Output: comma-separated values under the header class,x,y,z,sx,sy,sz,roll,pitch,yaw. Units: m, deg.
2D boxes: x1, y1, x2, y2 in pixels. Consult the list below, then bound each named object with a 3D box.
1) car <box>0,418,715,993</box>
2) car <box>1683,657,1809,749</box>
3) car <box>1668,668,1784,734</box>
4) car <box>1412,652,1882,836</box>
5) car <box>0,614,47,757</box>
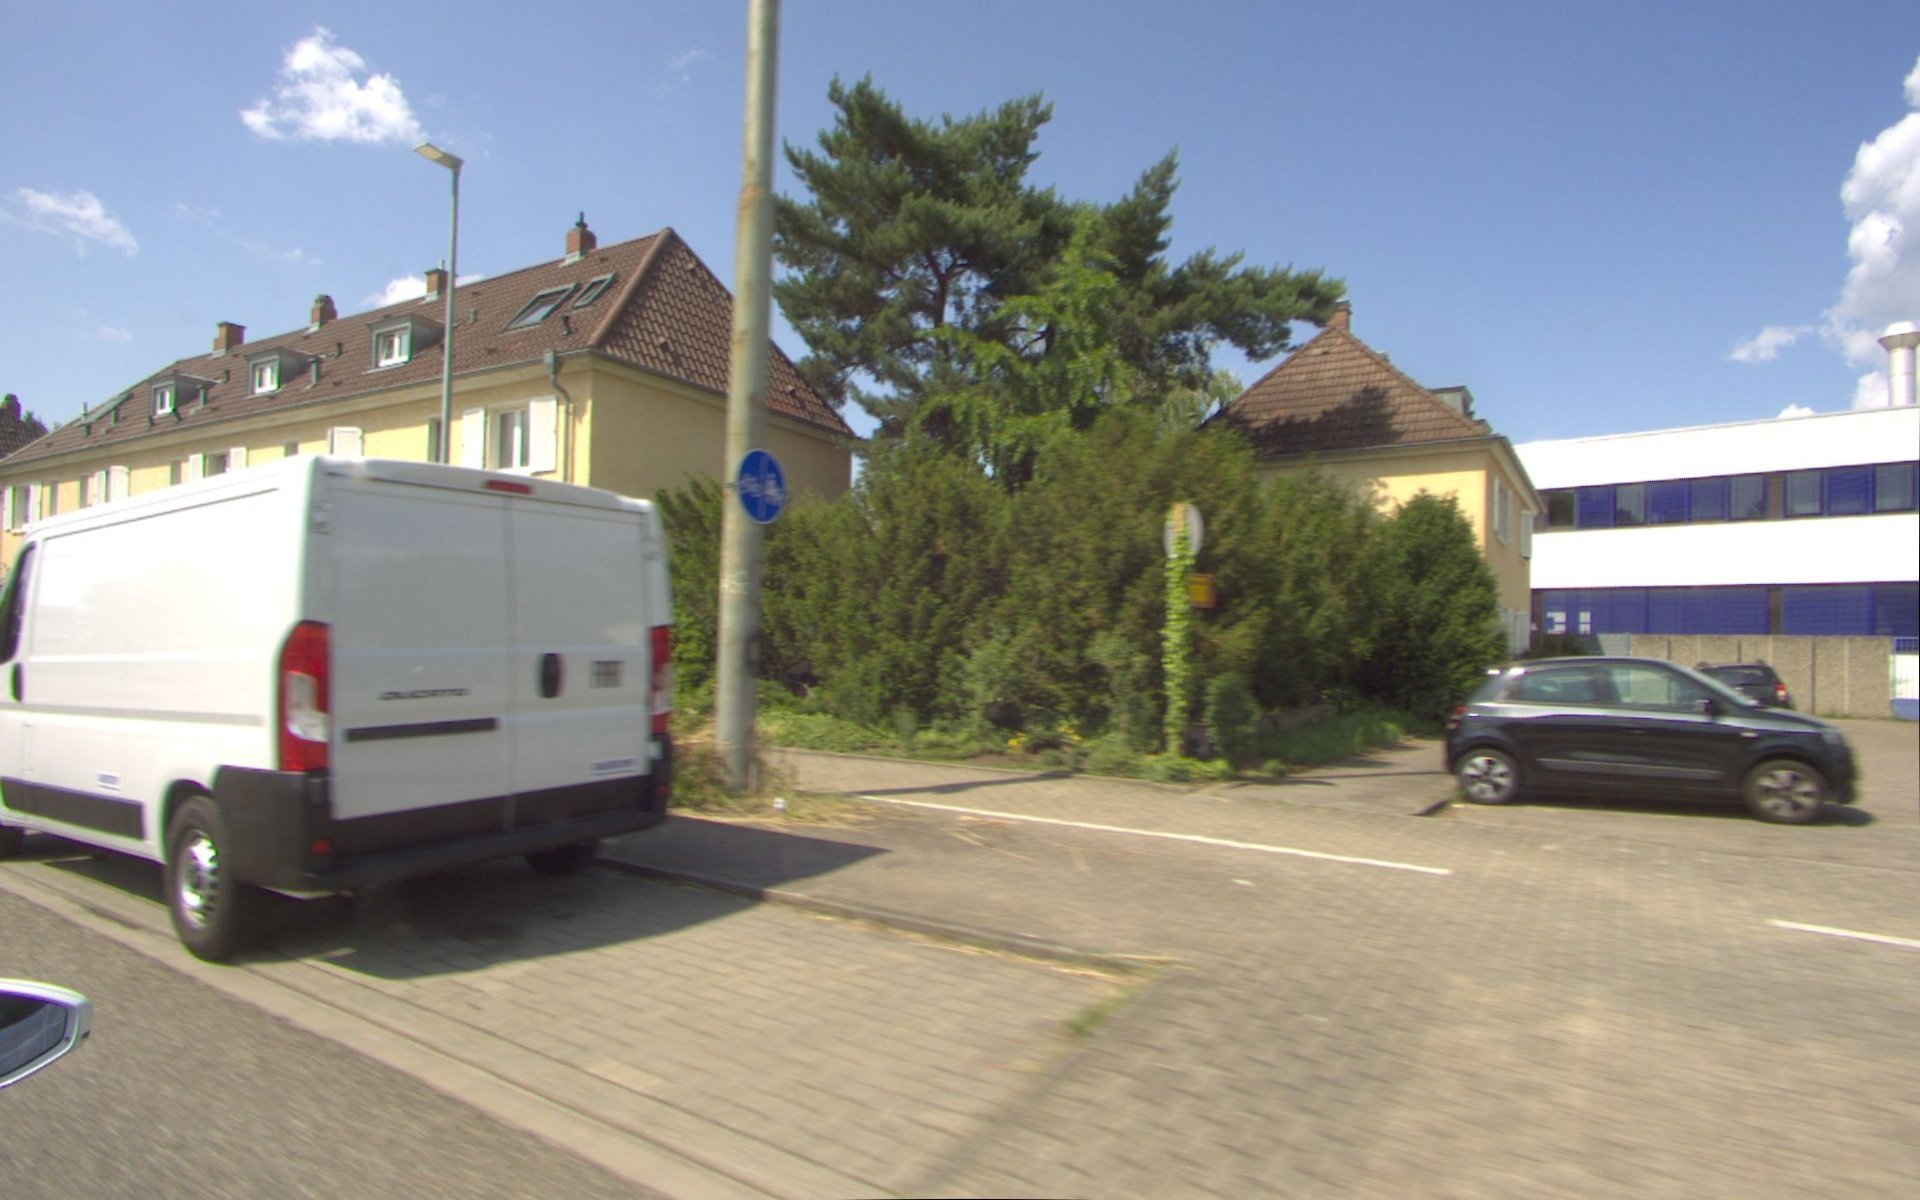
class,x,y,z,sx,sy,sz,roll,pitch,yaw
car,-4.648,0.478,6.570,6.280,2.210,2.272,-1,-2,34
car,16.225,2.093,20.857,1.712,1.708,4.103,-4,-6,34
car,19.361,2.530,25.483,1.732,1.500,4.107,-5,-6,30
car,6.866,1.359,10.441,3.755,1.566,1.626,-1,-4,32
car,-12.228,0.898,11.248,4.191,1.523,1.706,0,-2,30
